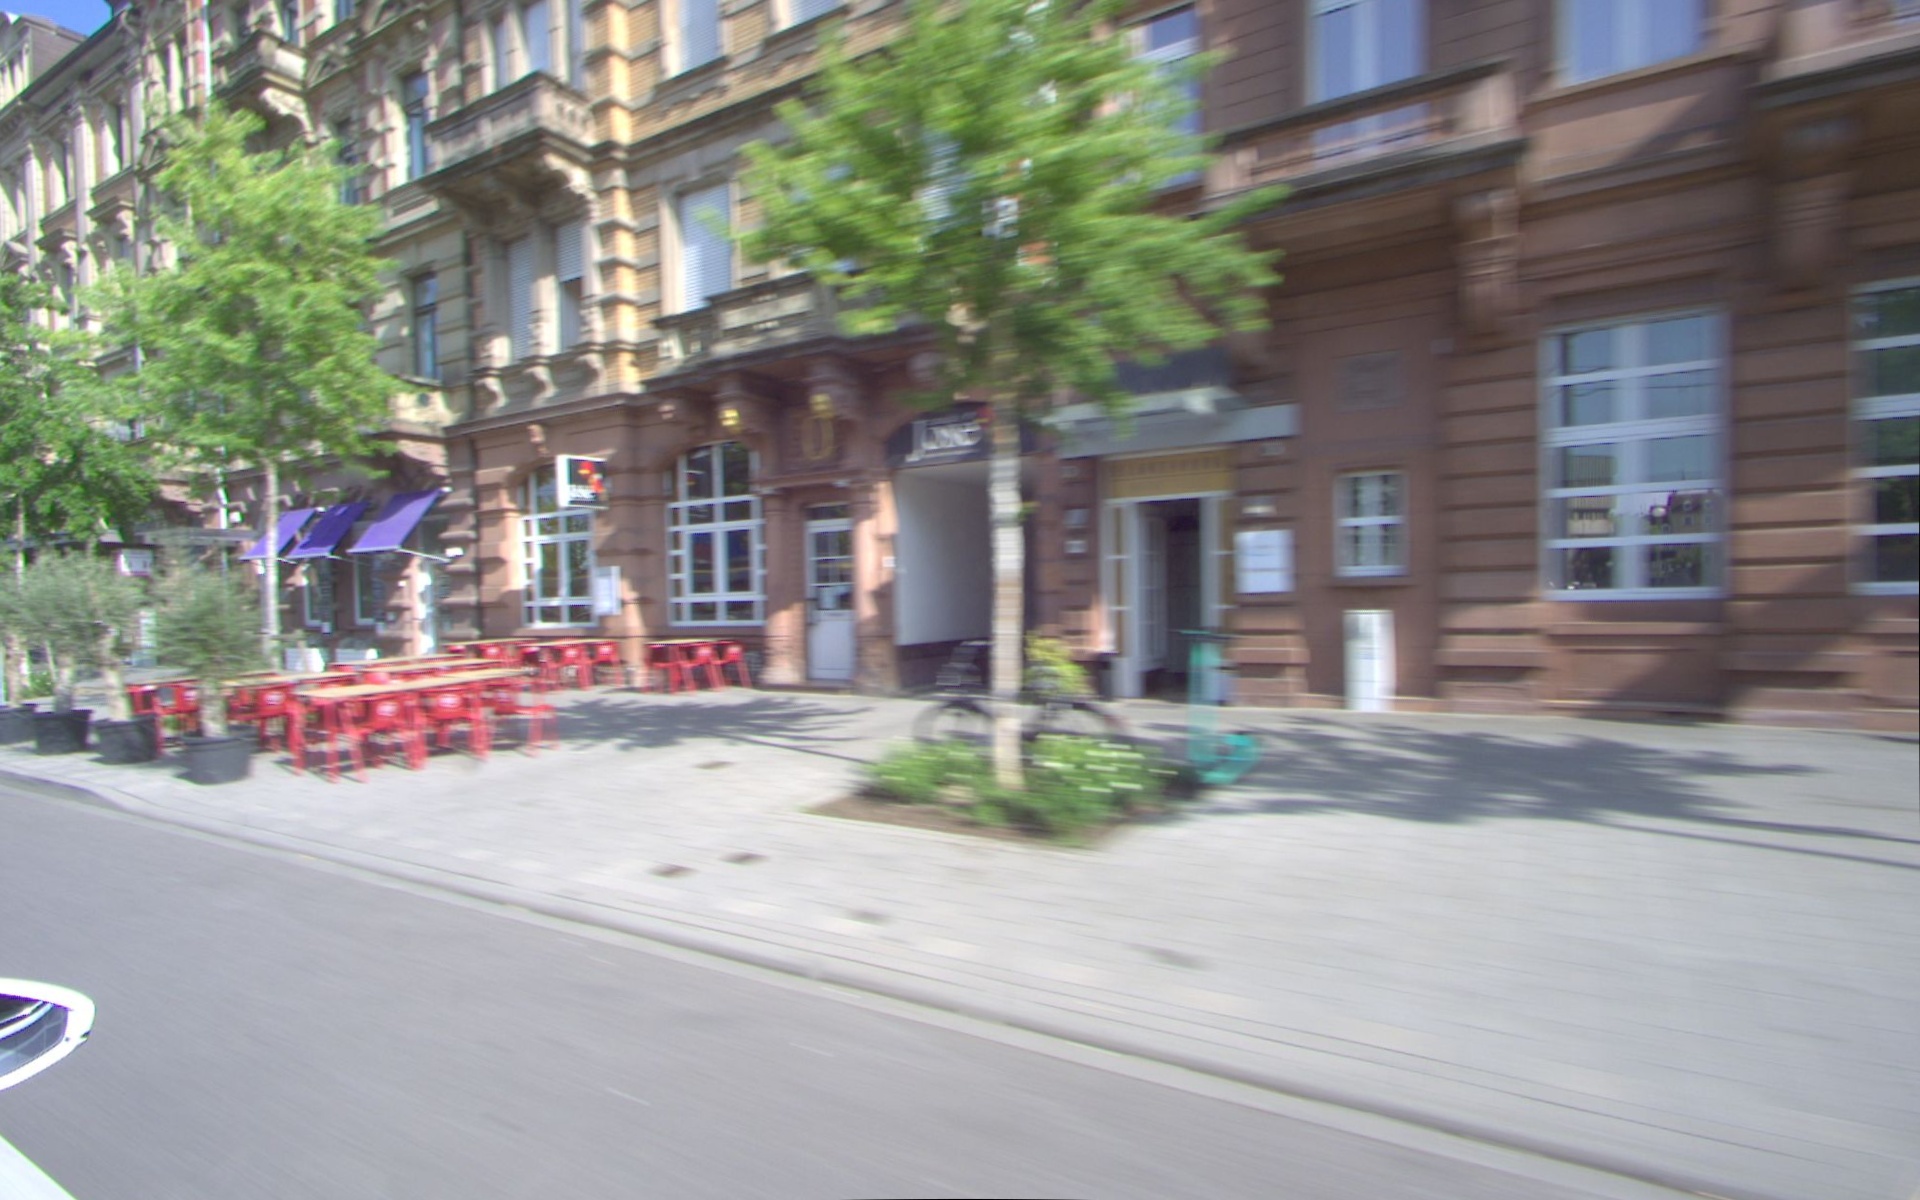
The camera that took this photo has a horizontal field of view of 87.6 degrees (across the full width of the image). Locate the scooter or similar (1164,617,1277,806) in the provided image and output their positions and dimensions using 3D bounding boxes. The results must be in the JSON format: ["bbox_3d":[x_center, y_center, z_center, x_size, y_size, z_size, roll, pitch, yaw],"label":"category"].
[{"bbox_3d":[1.900,0.752,7.222,0.335,1.173,1.251,-1,3,35],"label":"scooter or similar"}]

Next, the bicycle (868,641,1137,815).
[{"bbox_3d":[0.295,0.886,7.380,1.895,1.137,0.595,-1,0,26],"label":"bicycle"}]
